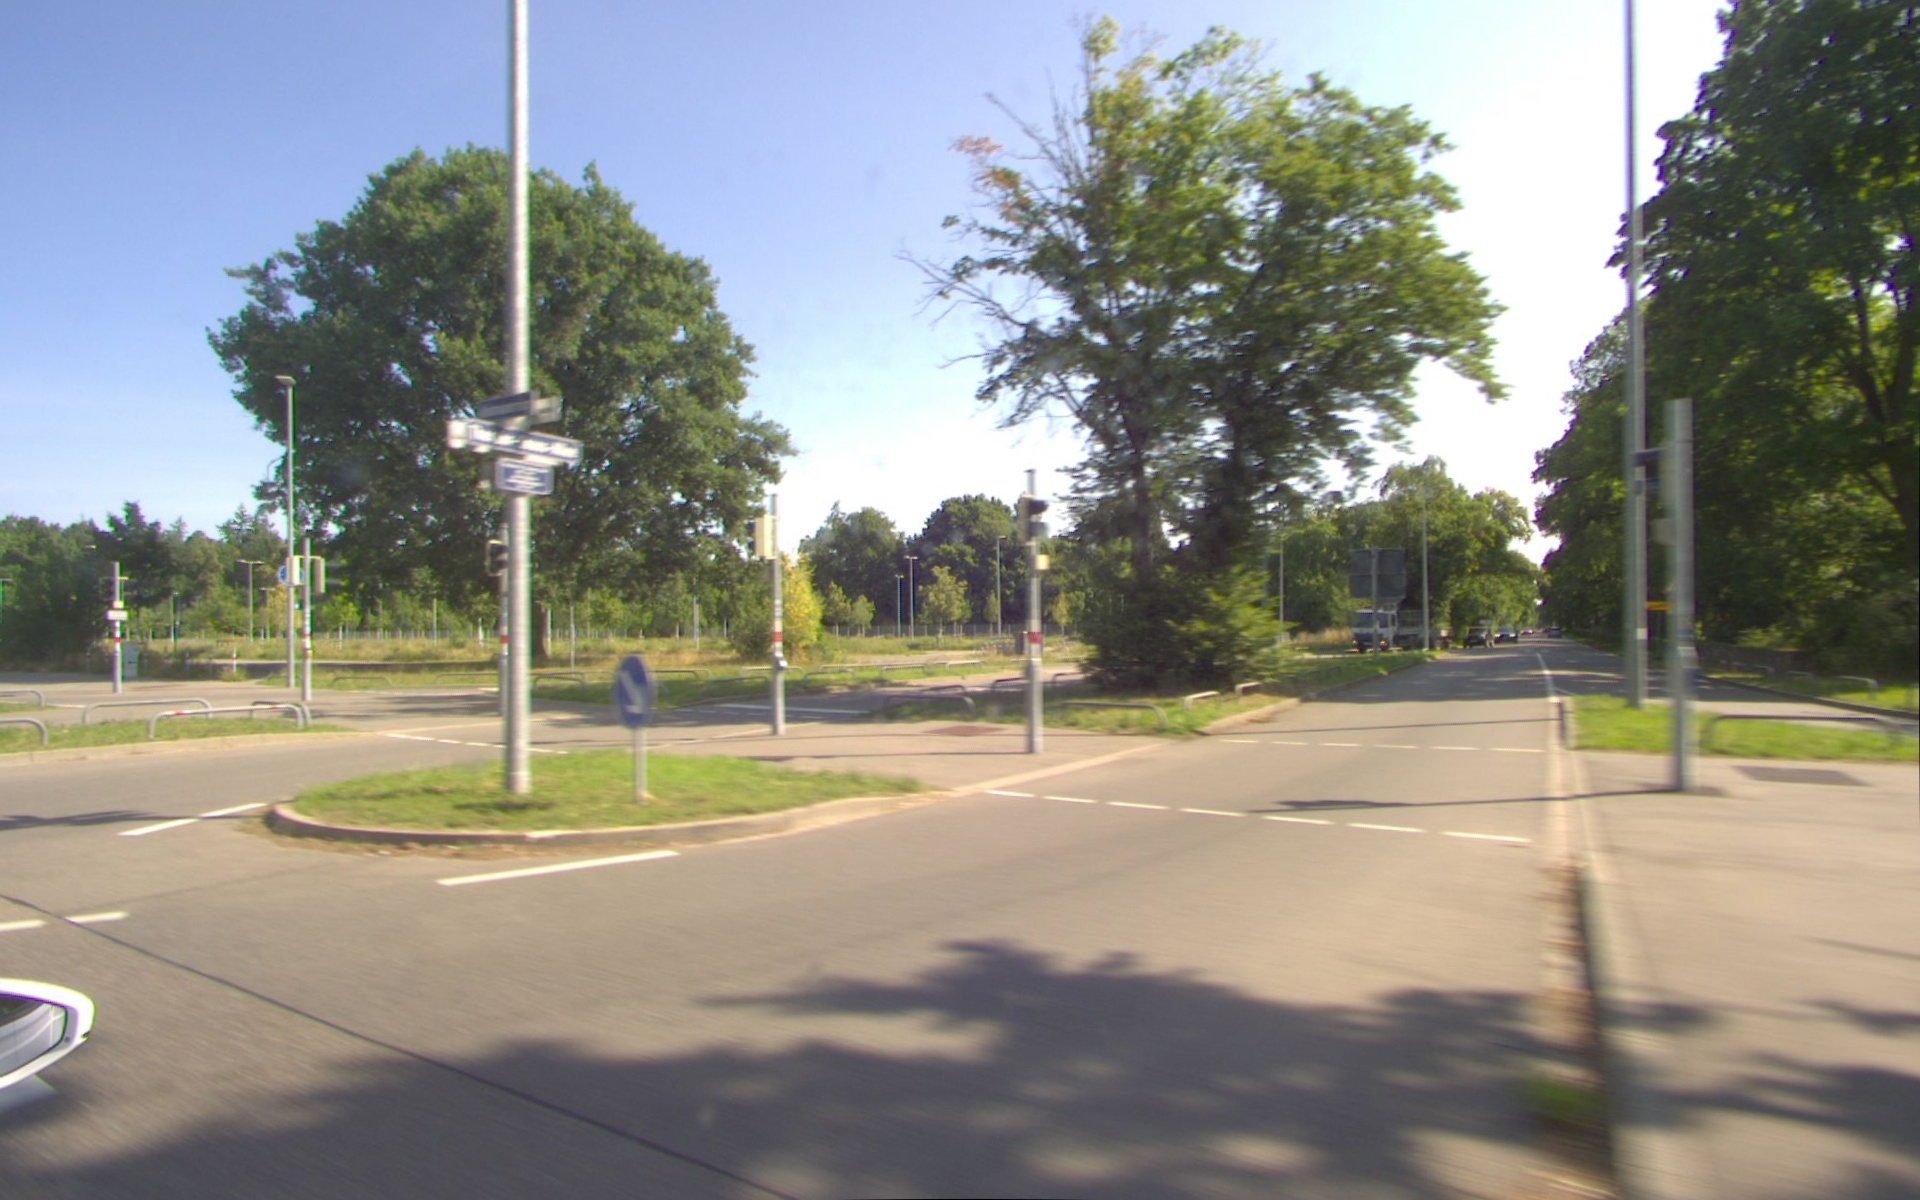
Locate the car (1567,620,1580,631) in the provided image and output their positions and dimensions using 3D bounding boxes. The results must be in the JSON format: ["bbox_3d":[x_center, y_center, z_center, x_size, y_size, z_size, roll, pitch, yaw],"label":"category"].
[{"bbox_3d":[114.123,4.810,186.265,1.855,2.039,3.978,-1,-1,33],"label":"car"}]

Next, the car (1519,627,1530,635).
[{"bbox_3d":[100.379,5.448,177.956,1.602,1.420,3.468,-1,-2,28],"label":"car"}]

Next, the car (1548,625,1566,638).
[{"bbox_3d":[84.392,4.433,141.505,1.973,1.794,3.978,-1,-2,34],"label":"car"}]

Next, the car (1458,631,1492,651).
[{"bbox_3d":[40.798,3.242,79.312,1.822,1.503,3.975,-1,-2,36],"label":"car"}]

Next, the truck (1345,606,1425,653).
[{"bbox_3d":[26.021,1.807,61.214,2.651,2.752,6.152,-1,-2,42],"label":"truck"}]

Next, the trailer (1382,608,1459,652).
[{"bbox_3d":[30.395,1.992,65.968,2.674,2.722,6.831,-1,-2,42],"label":"trailer"}]

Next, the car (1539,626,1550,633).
[{"bbox_3d":[124.209,6.316,212.841,1.736,1.527,3.978,-1,-2,33],"label":"car"}]

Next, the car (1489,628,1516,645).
[{"bbox_3d":[52.267,3.493,96.455,1.972,1.505,3.979,-1,-2,33],"label":"car"}]
